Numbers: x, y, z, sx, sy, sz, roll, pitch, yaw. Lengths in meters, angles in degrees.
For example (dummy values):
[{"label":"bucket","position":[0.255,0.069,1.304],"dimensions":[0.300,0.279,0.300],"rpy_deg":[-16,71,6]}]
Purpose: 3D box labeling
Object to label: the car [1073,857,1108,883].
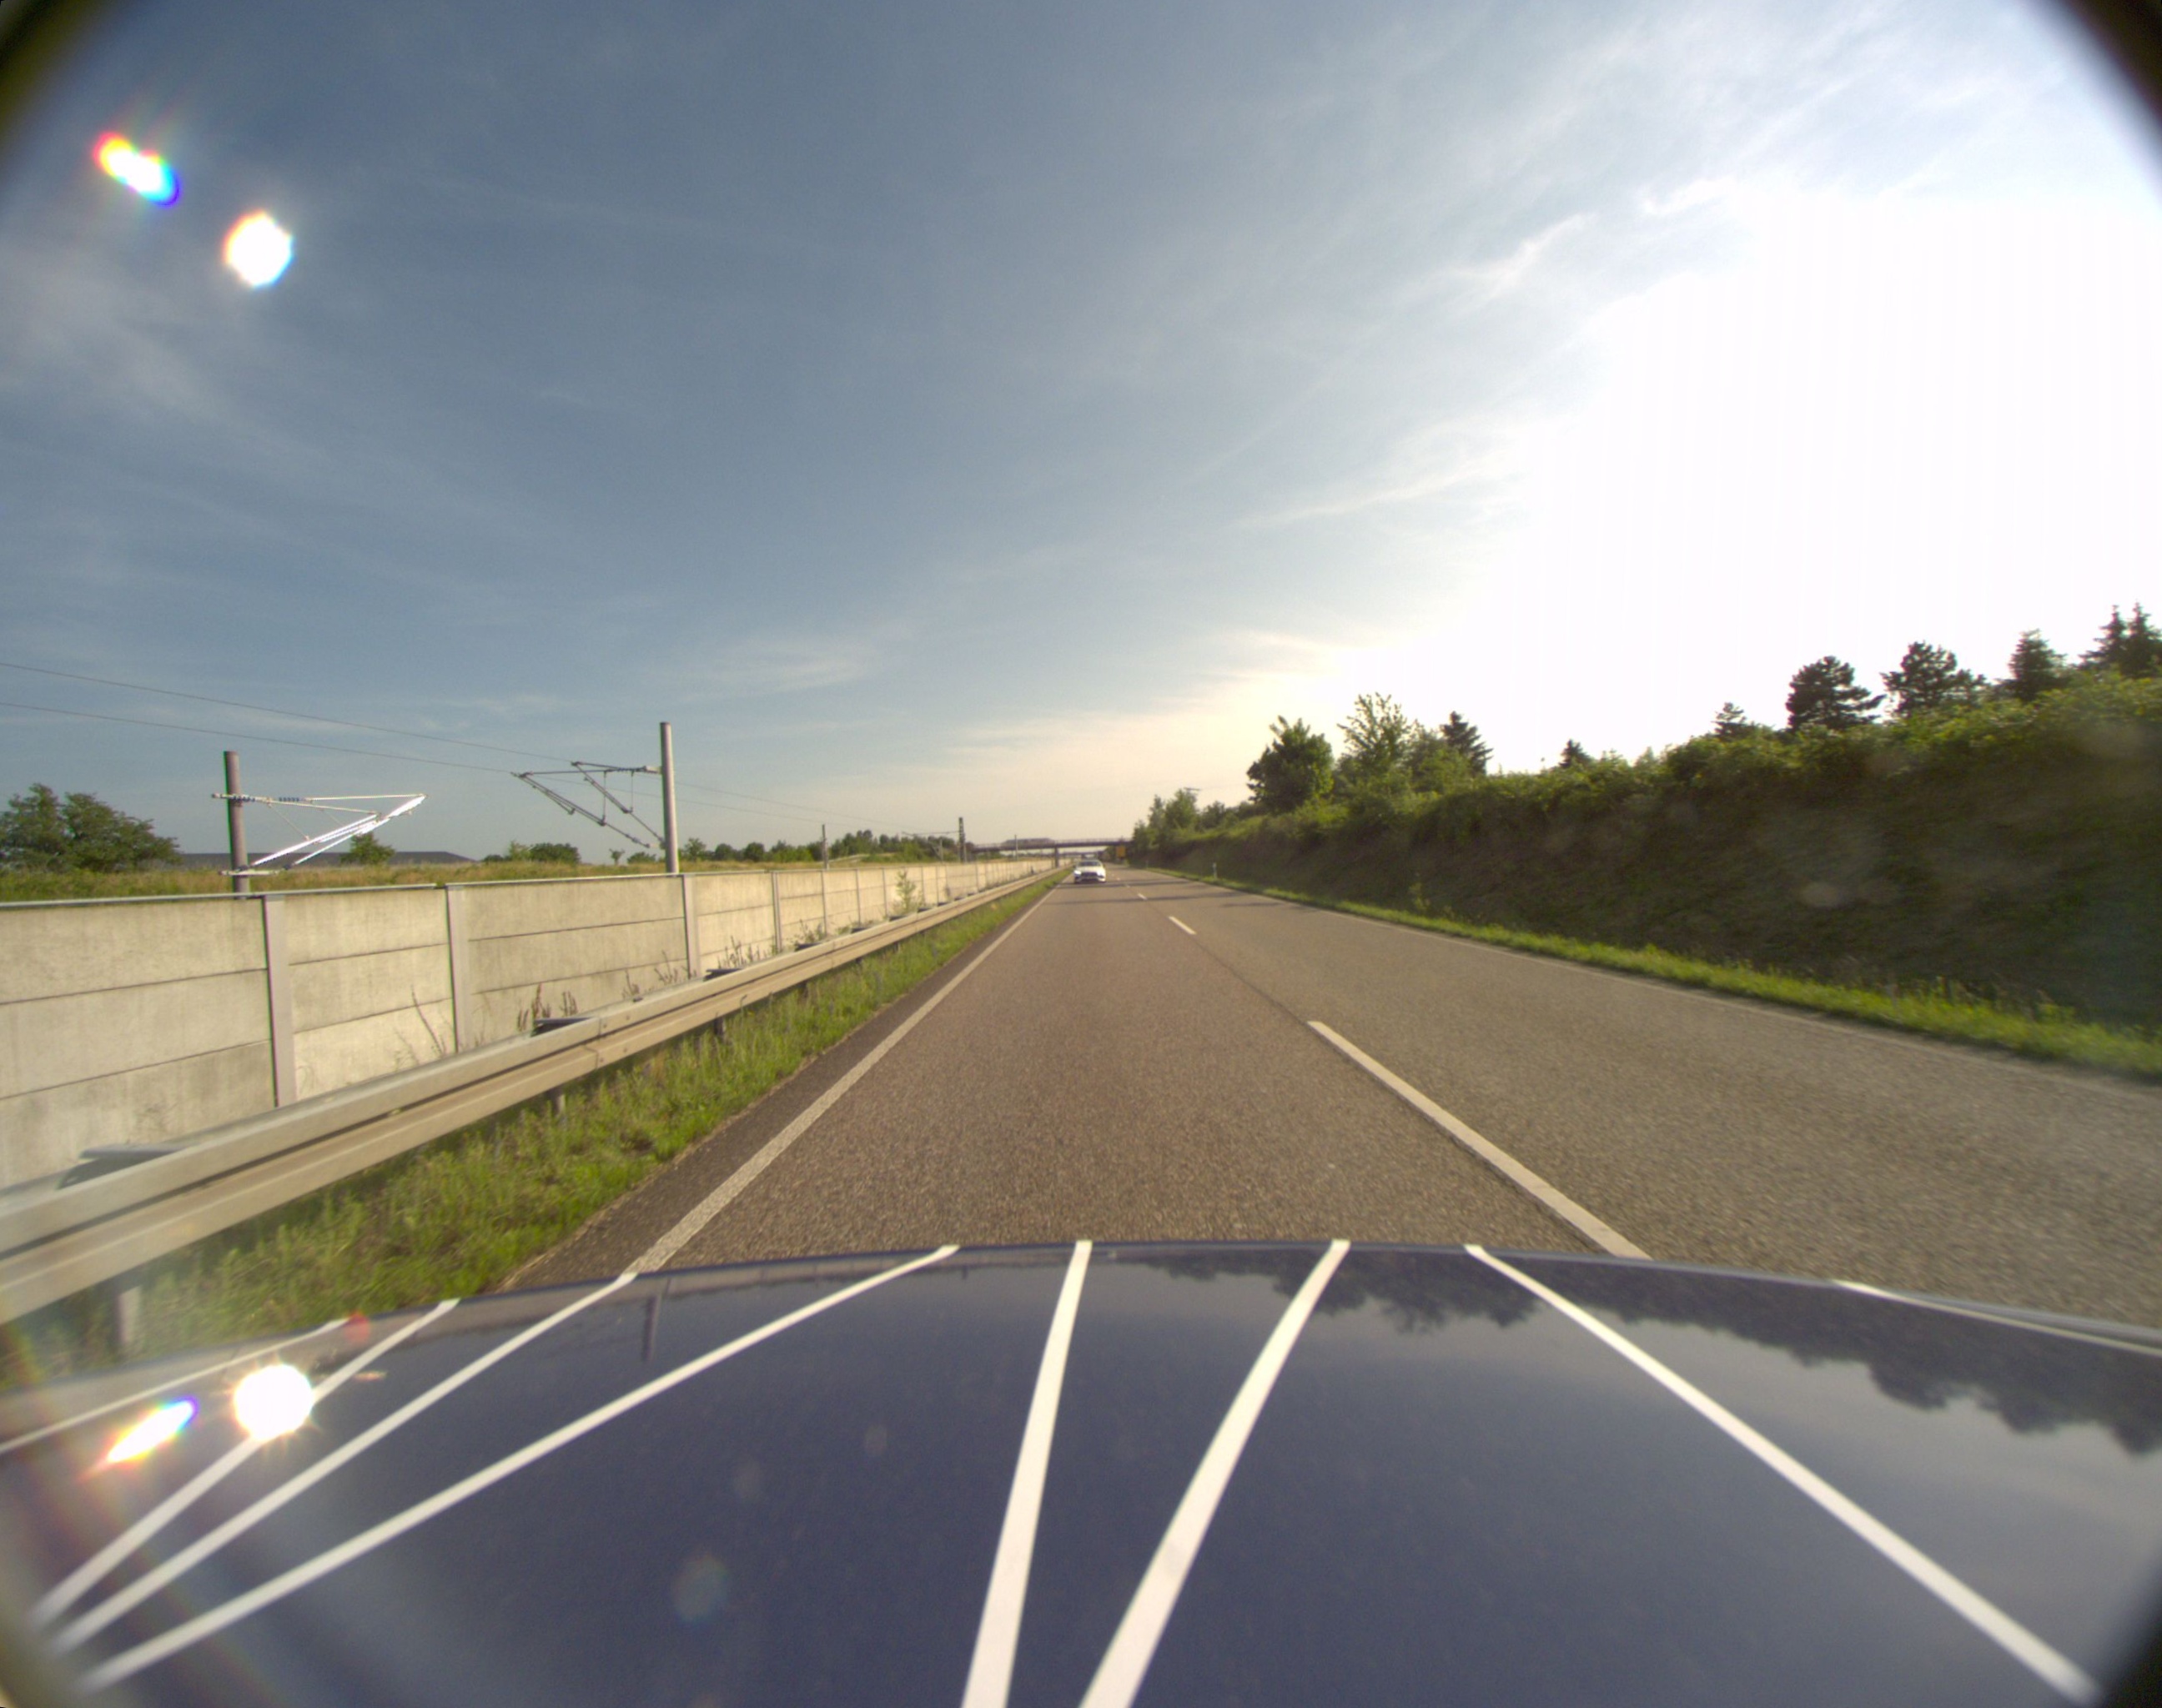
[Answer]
[{"label":"car","position":[0.599,0.936,46.801],"dimensions":[1.952,1.430,4.612],"rpy_deg":[-2,0,1]}]
